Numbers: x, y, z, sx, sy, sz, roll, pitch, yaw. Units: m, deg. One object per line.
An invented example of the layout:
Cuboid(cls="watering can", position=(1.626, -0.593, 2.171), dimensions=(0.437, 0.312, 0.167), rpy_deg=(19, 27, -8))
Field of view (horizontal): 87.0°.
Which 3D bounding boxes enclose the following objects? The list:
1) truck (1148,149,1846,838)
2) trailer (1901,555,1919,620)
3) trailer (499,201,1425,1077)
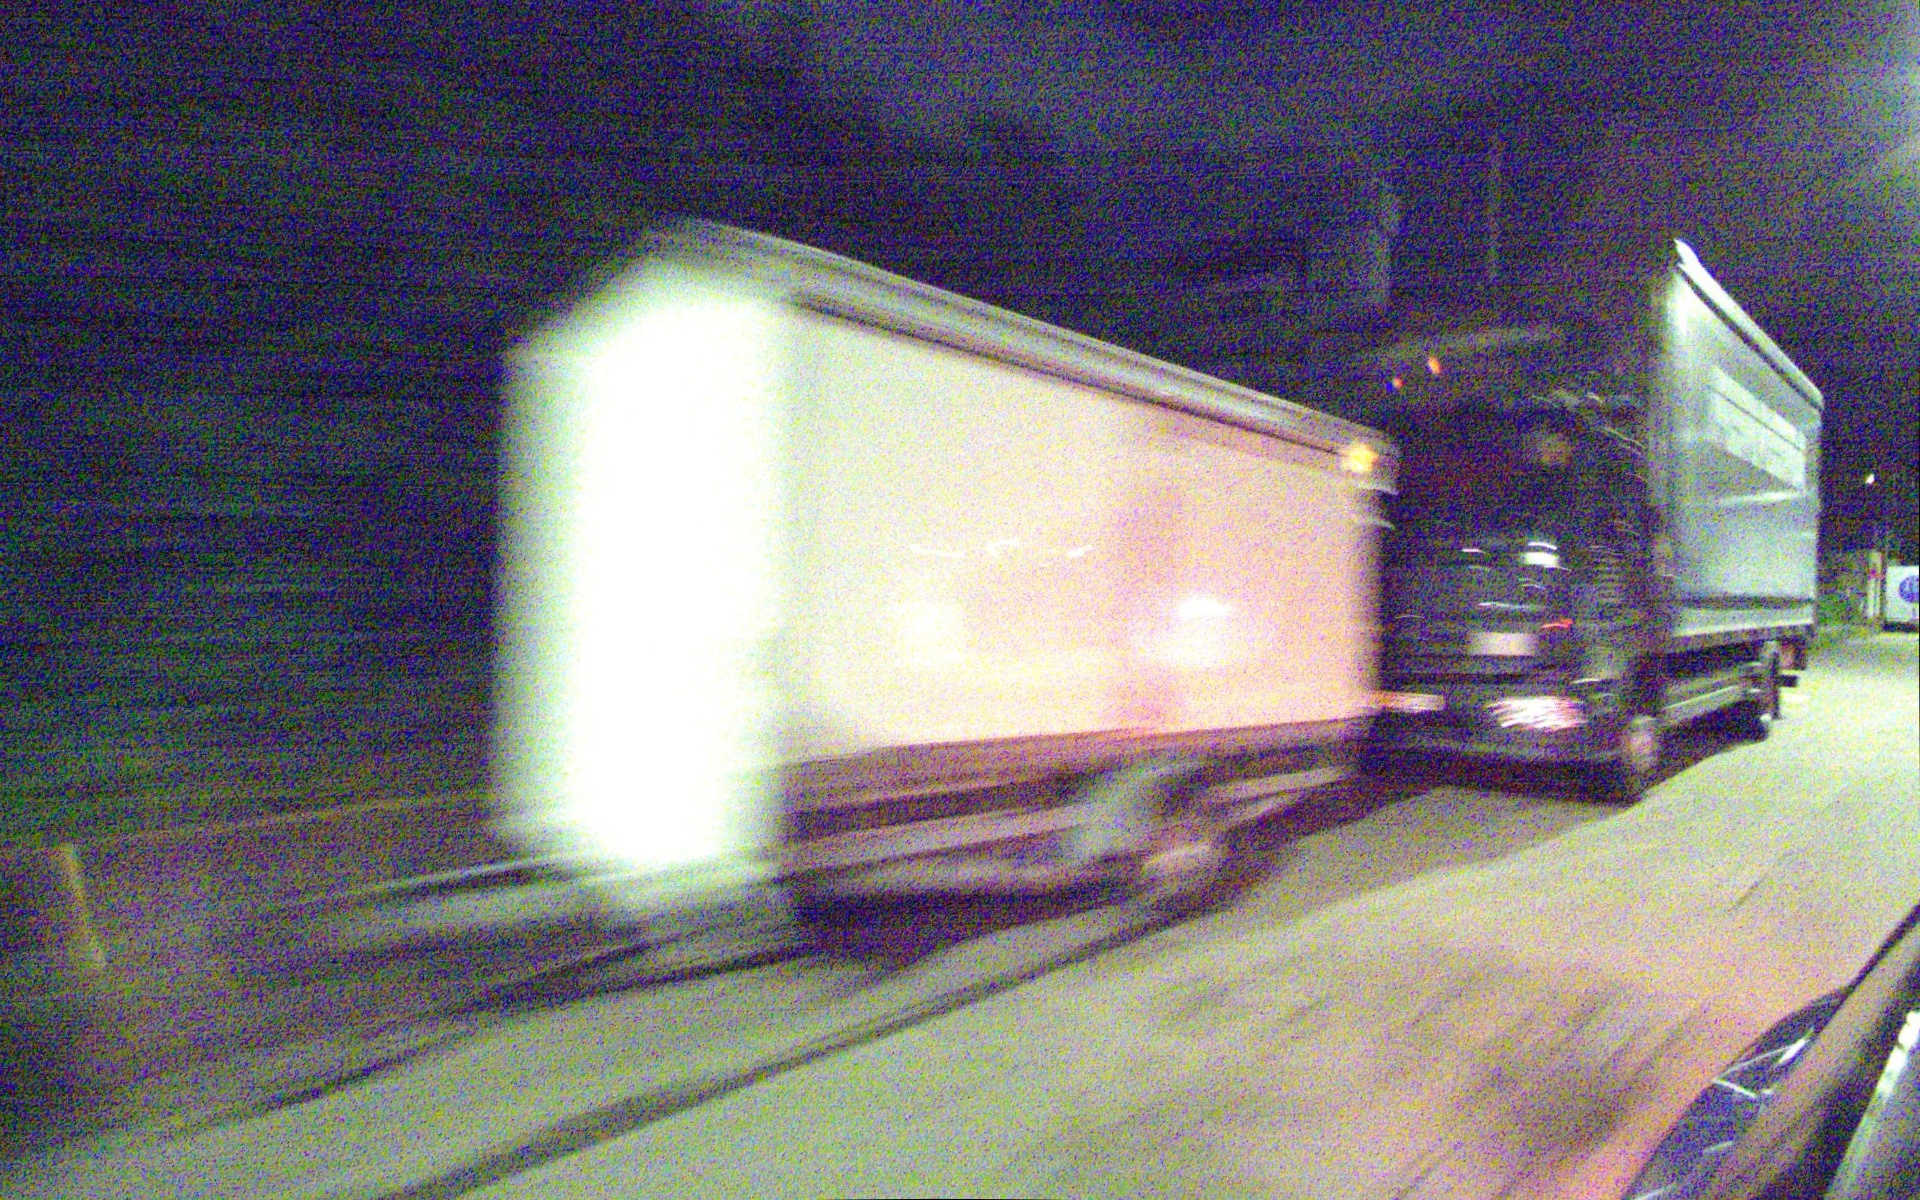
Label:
Cuboid(cls="truck", position=(6.008, -0.728, 10.124), dimensions=(9.171, 3.916, 3.328), rpy_deg=(-1, 2, -43))
Cuboid(cls="trailer", position=(41.332, -0.510, 42.609), dimensions=(3.929, 2.684, 1.998), rpy_deg=(0, 1, -40))
Cuboid(cls="trailer", position=(0.492, 0.077, 5.177), dimensions=(4.942, 2.504, 1.634), rpy_deg=(-1, 1, -43))
